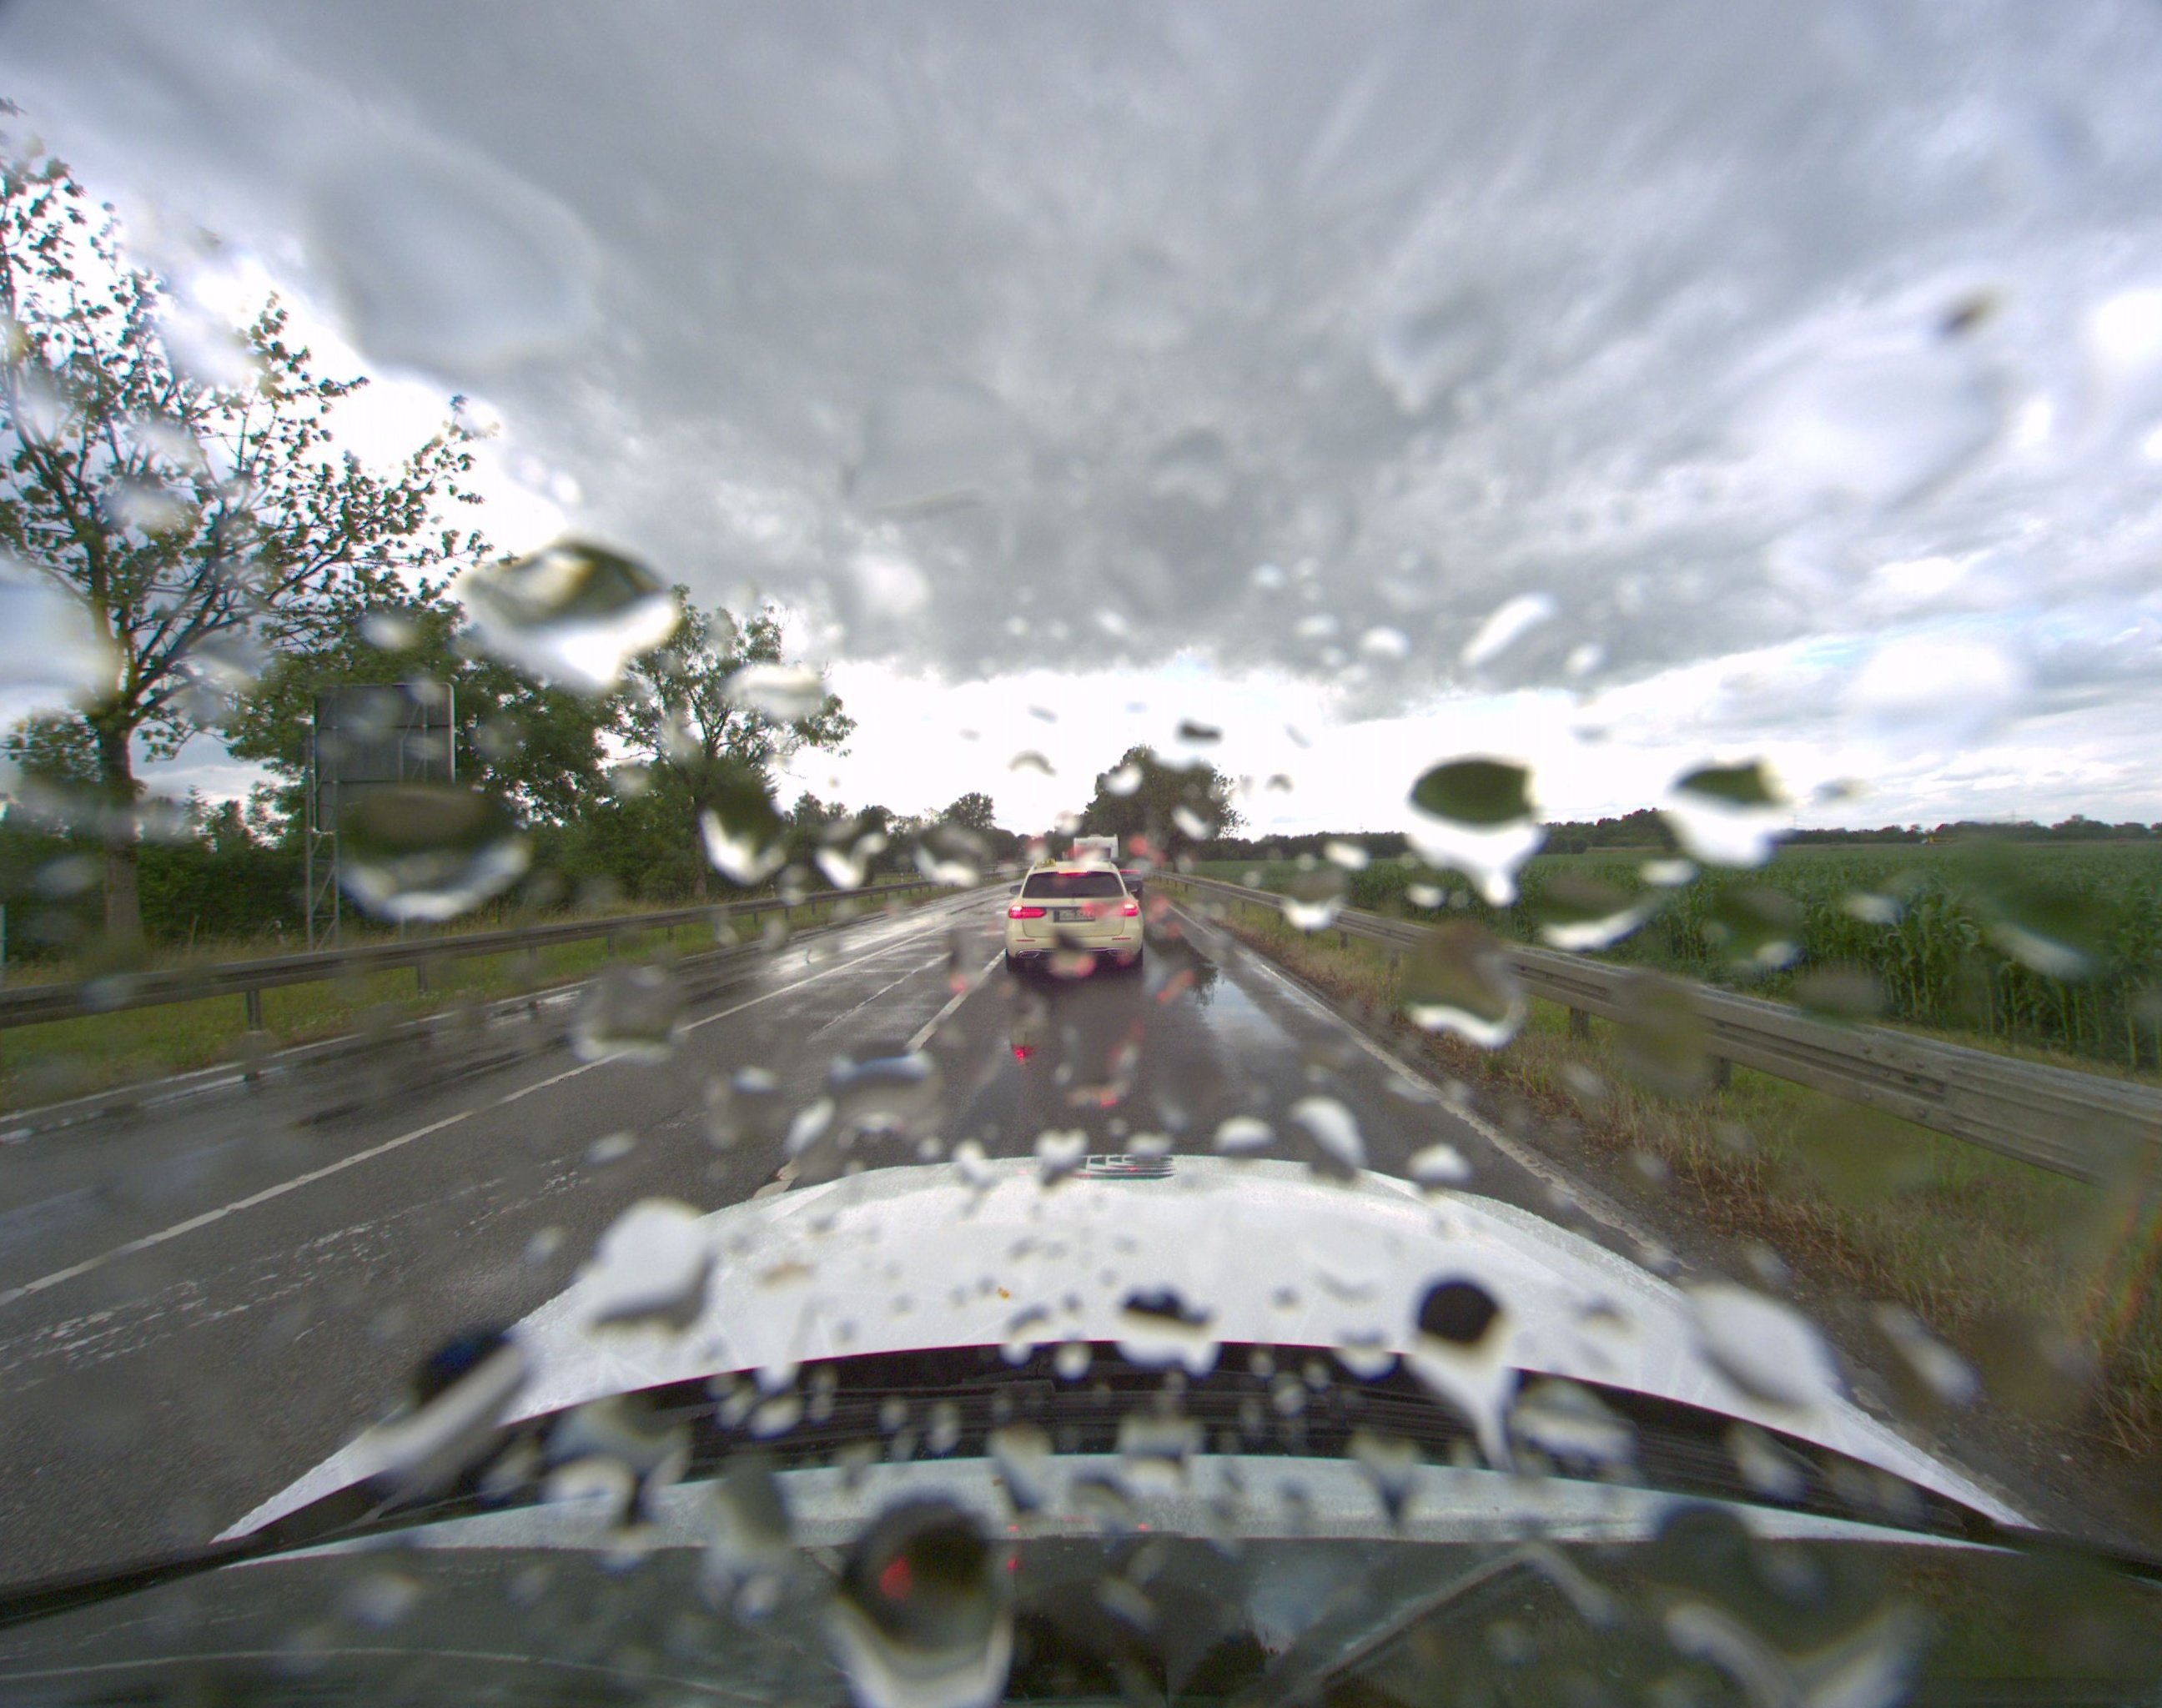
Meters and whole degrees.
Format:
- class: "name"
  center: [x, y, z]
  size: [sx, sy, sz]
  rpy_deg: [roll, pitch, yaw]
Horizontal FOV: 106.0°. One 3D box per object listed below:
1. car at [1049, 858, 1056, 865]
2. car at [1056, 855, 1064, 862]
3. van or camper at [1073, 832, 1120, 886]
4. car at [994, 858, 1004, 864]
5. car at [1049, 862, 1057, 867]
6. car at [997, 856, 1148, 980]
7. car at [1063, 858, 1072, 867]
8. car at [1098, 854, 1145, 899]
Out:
- class: "car"
  center: [-8.731, 2.242, 247.707]
  size: [1.989, 2.013, 3.995]
  rpy_deg: [-1, 0, -4]
- class: "car"
  center: [-5.570, 1.180, 212.138]
  size: [1.987, 2.014, 3.999]
  rpy_deg: [-1, 0, -1]
- class: "van or camper"
  center: [0.892, 0.240, 44.102]
  size: [2.342, 2.680, 5.771]
  rpy_deg: [-1, 0, 2]
- class: "car"
  center: [-23.621, 2.103, 234.793]
  size: [1.985, 1.651, 4.003]
  rpy_deg: [-1, 0, 3]
- class: "car"
  center: [-6.815, 2.567, 198.375]
  size: [1.752, 1.269, 4.002]
  rpy_deg: [-2, 0, 2]
- class: "car"
  center: [-0.003, 0.792, 11.989]
  size: [1.817, 1.485, 4.148]
  rpy_deg: [-1, 0, 3]
- class: "car"
  center: [-3.240, 2.119, 199.478]
  size: [1.985, 2.051, 4.003]
  rpy_deg: [-1, 0, 3]
- class: "car"
  center: [1.491, 0.797, 30.640]
  size: [1.621, 1.529, 3.934]
  rpy_deg: [-2, 0, 2]
